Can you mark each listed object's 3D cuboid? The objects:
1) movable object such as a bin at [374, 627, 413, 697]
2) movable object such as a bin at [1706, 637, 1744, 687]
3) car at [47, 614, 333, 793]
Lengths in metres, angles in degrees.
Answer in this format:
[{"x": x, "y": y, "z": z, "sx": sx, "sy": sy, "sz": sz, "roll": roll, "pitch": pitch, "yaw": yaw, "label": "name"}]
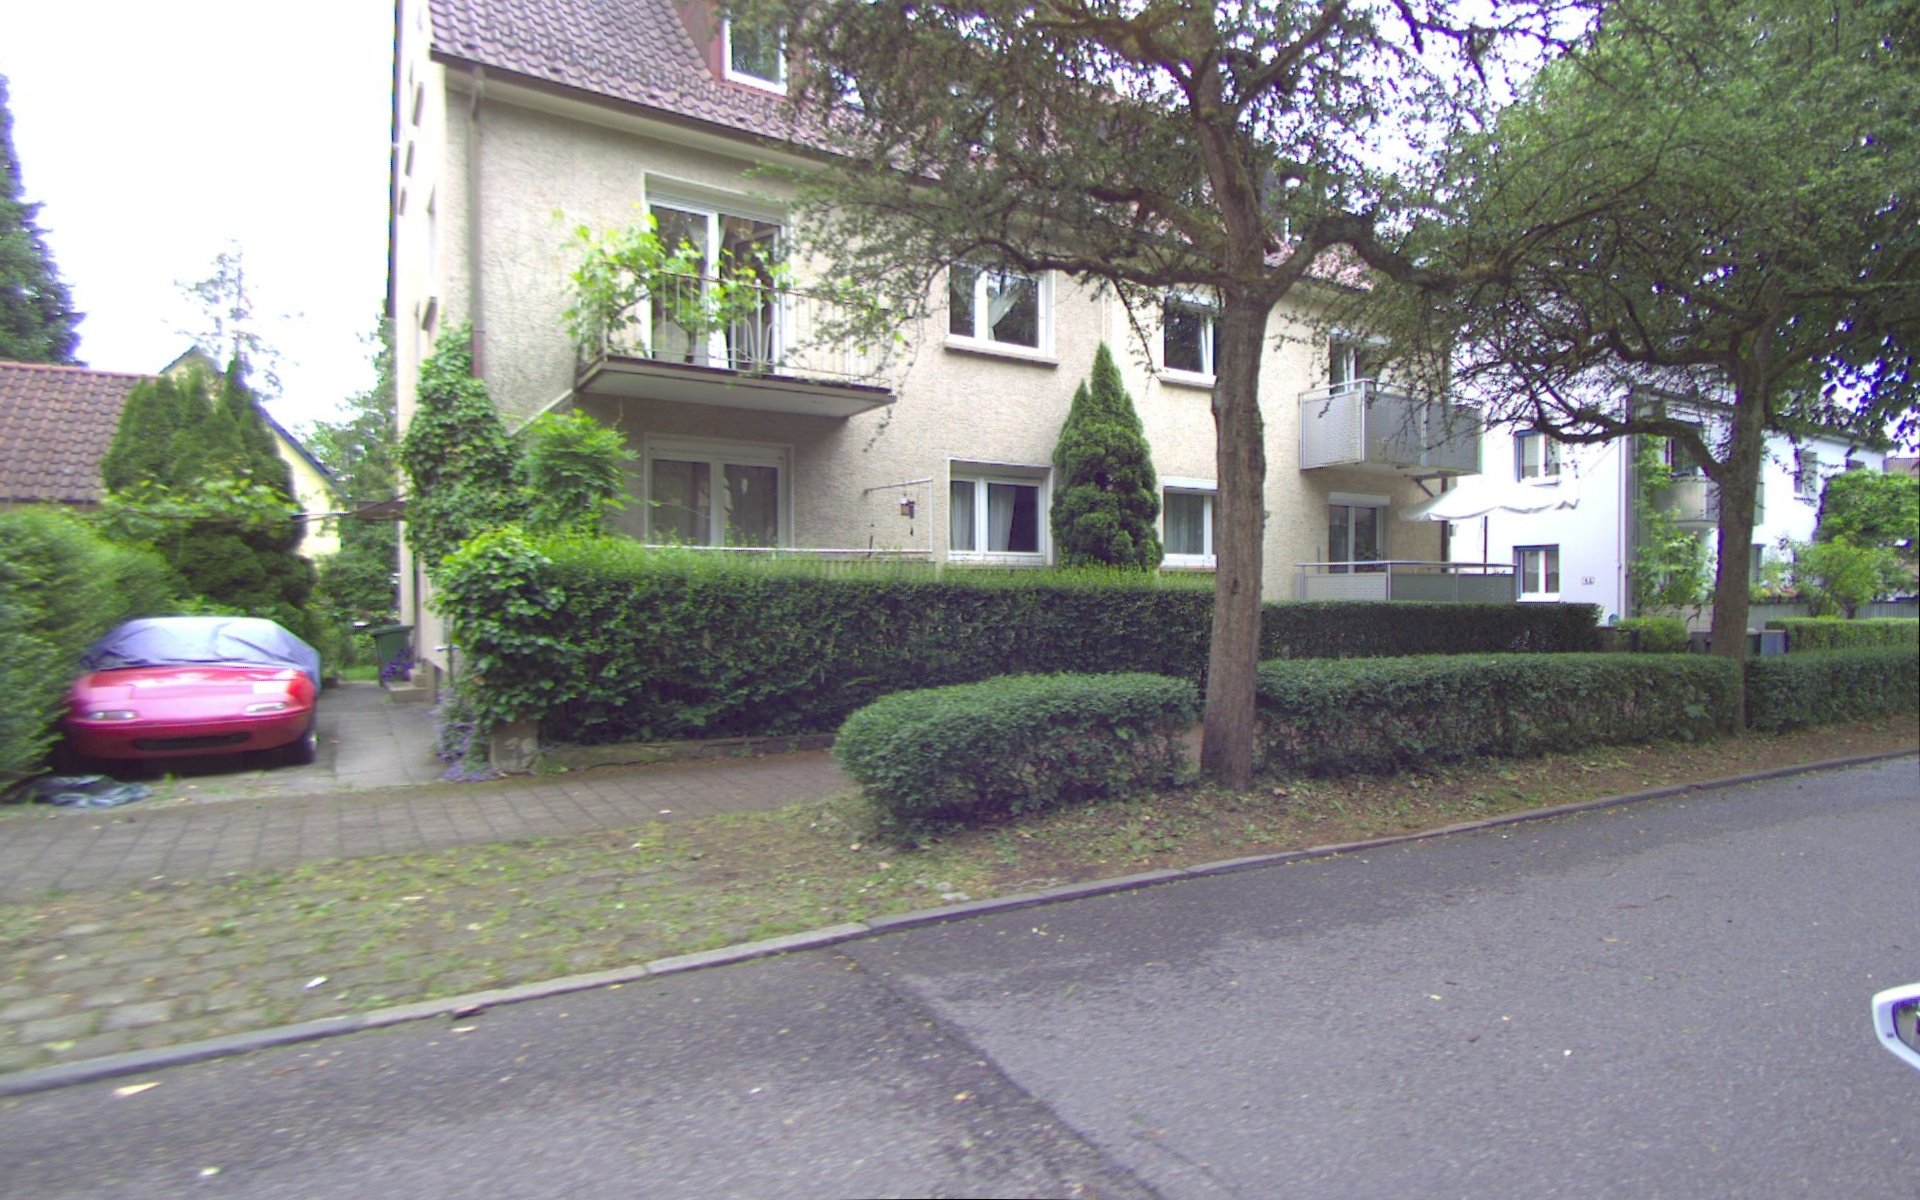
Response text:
[{"x": -8.412, "y": 0.909, "z": 14.913, "sx": 0.465, "sy": 0.999, "sz": 0.475, "roll": -1, "pitch": 0, "yaw": -33, "label": "movable object such as a bin"}, {"x": 14.542, "y": 1.175, "z": 19.093, "sx": 0.503, "sy": 0.927, "sz": 0.452, "roll": 1, "pitch": -1, "yaw": -36, "label": "movable object such as a bin"}, {"x": -6.814, "y": 0.778, "z": 9.284, "sx": 1.679, "sy": 1.215, "sz": 3.965, "roll": 1, "pitch": -1, "yaw": -32, "label": "car"}]
